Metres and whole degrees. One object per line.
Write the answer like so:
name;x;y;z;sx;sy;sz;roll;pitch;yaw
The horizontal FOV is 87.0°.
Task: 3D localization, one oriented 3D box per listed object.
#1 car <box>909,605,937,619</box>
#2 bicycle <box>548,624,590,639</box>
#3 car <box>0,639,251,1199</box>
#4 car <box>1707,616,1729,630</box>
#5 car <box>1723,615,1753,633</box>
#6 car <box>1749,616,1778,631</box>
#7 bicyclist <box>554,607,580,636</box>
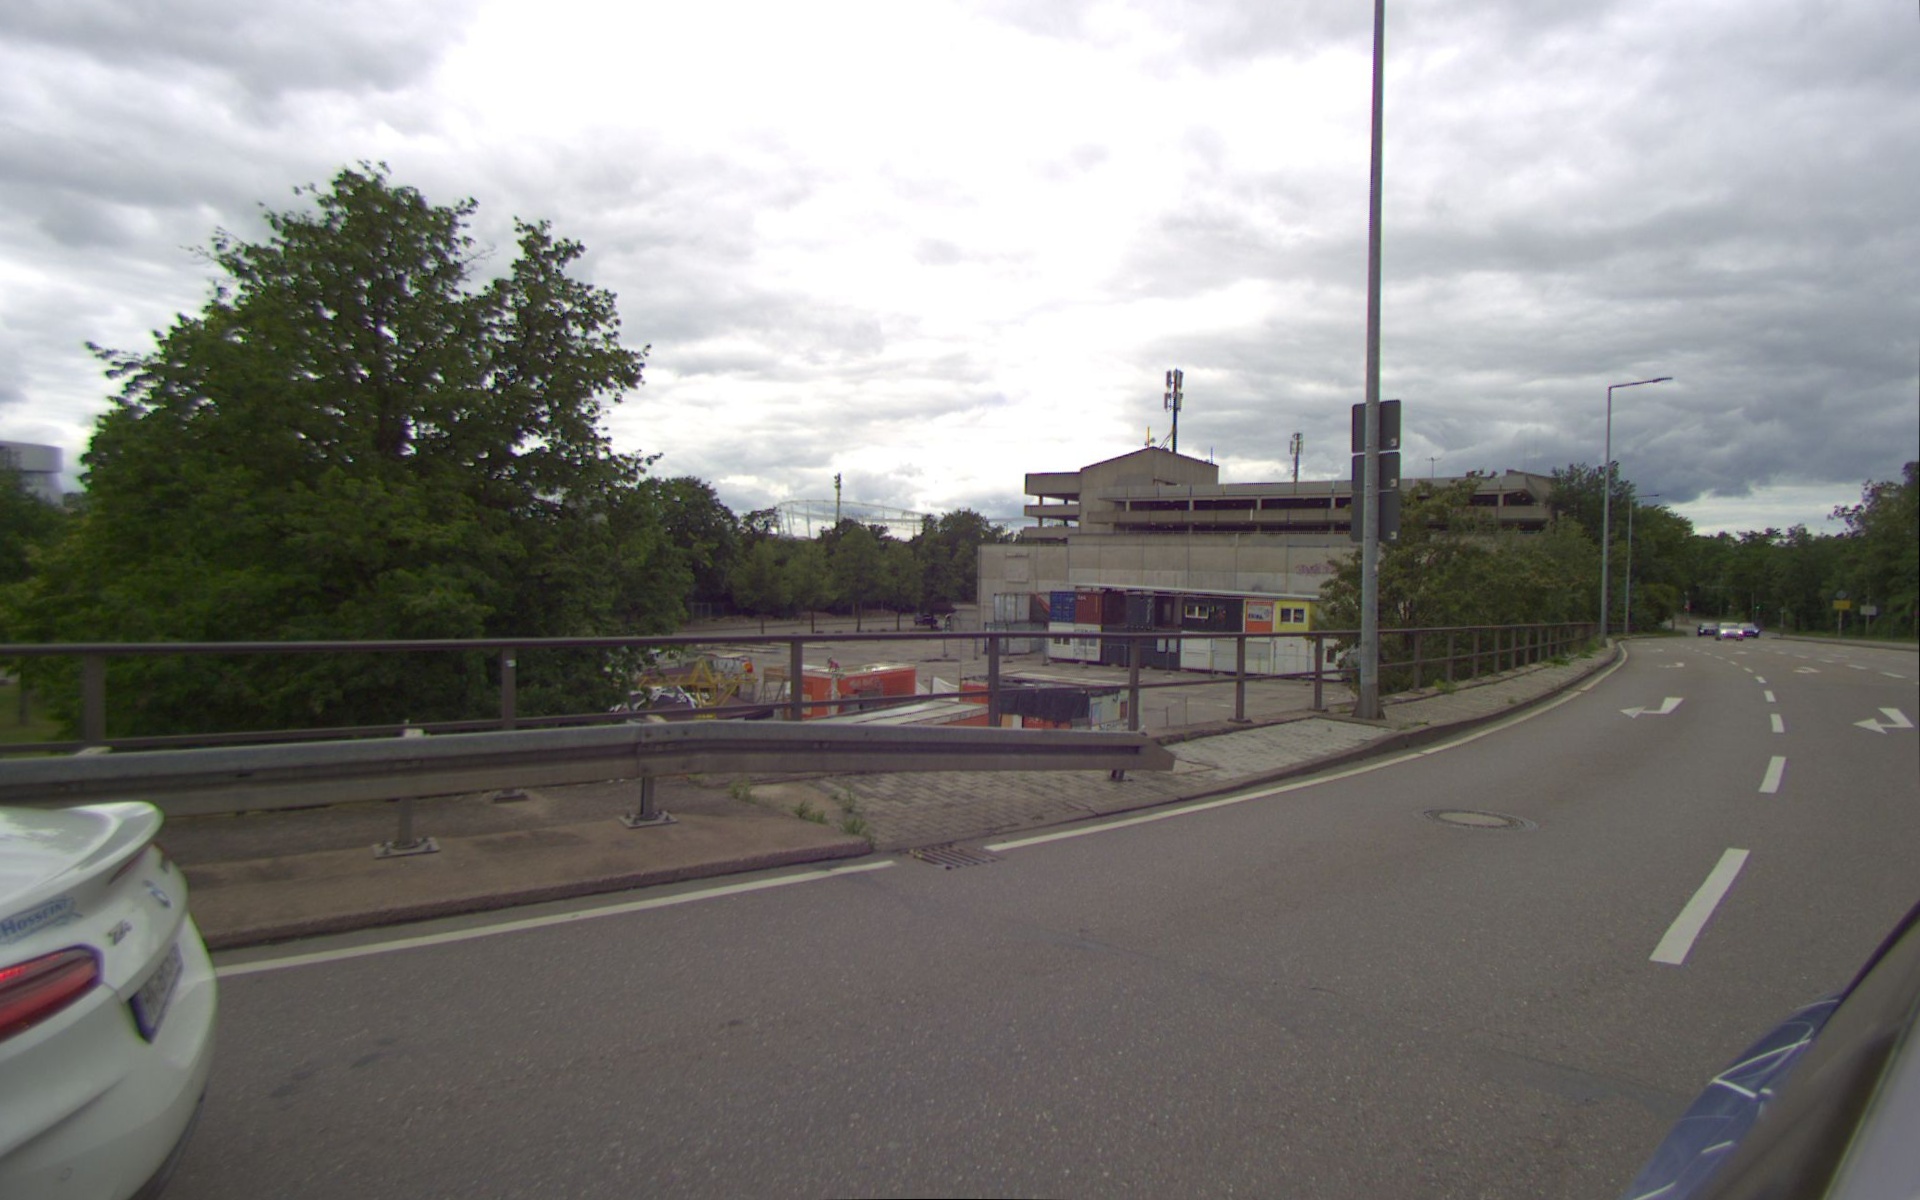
car;-5.147;1.662;142.839;1.985;1.839;3.952;-4;-2;34
bicycle;-37.899;3.050;98.137;1.482;1.304;4.307;1;1;17
car;-3.463;0.765;1.210;4.180;1.308;1.812;0;0;-33
car;79.946;2.409;106.686;1.856;1.434;4.279;0;0;37
car;63.094;1.935;82.089;1.598;1.434;3.549;0;0;33
car;80.122;2.323;100.986;1.830;1.434;4.526;0;0;33
bicyclist;-37.963;2.066;97.862;1.482;2.737;1.862;1;0;17
